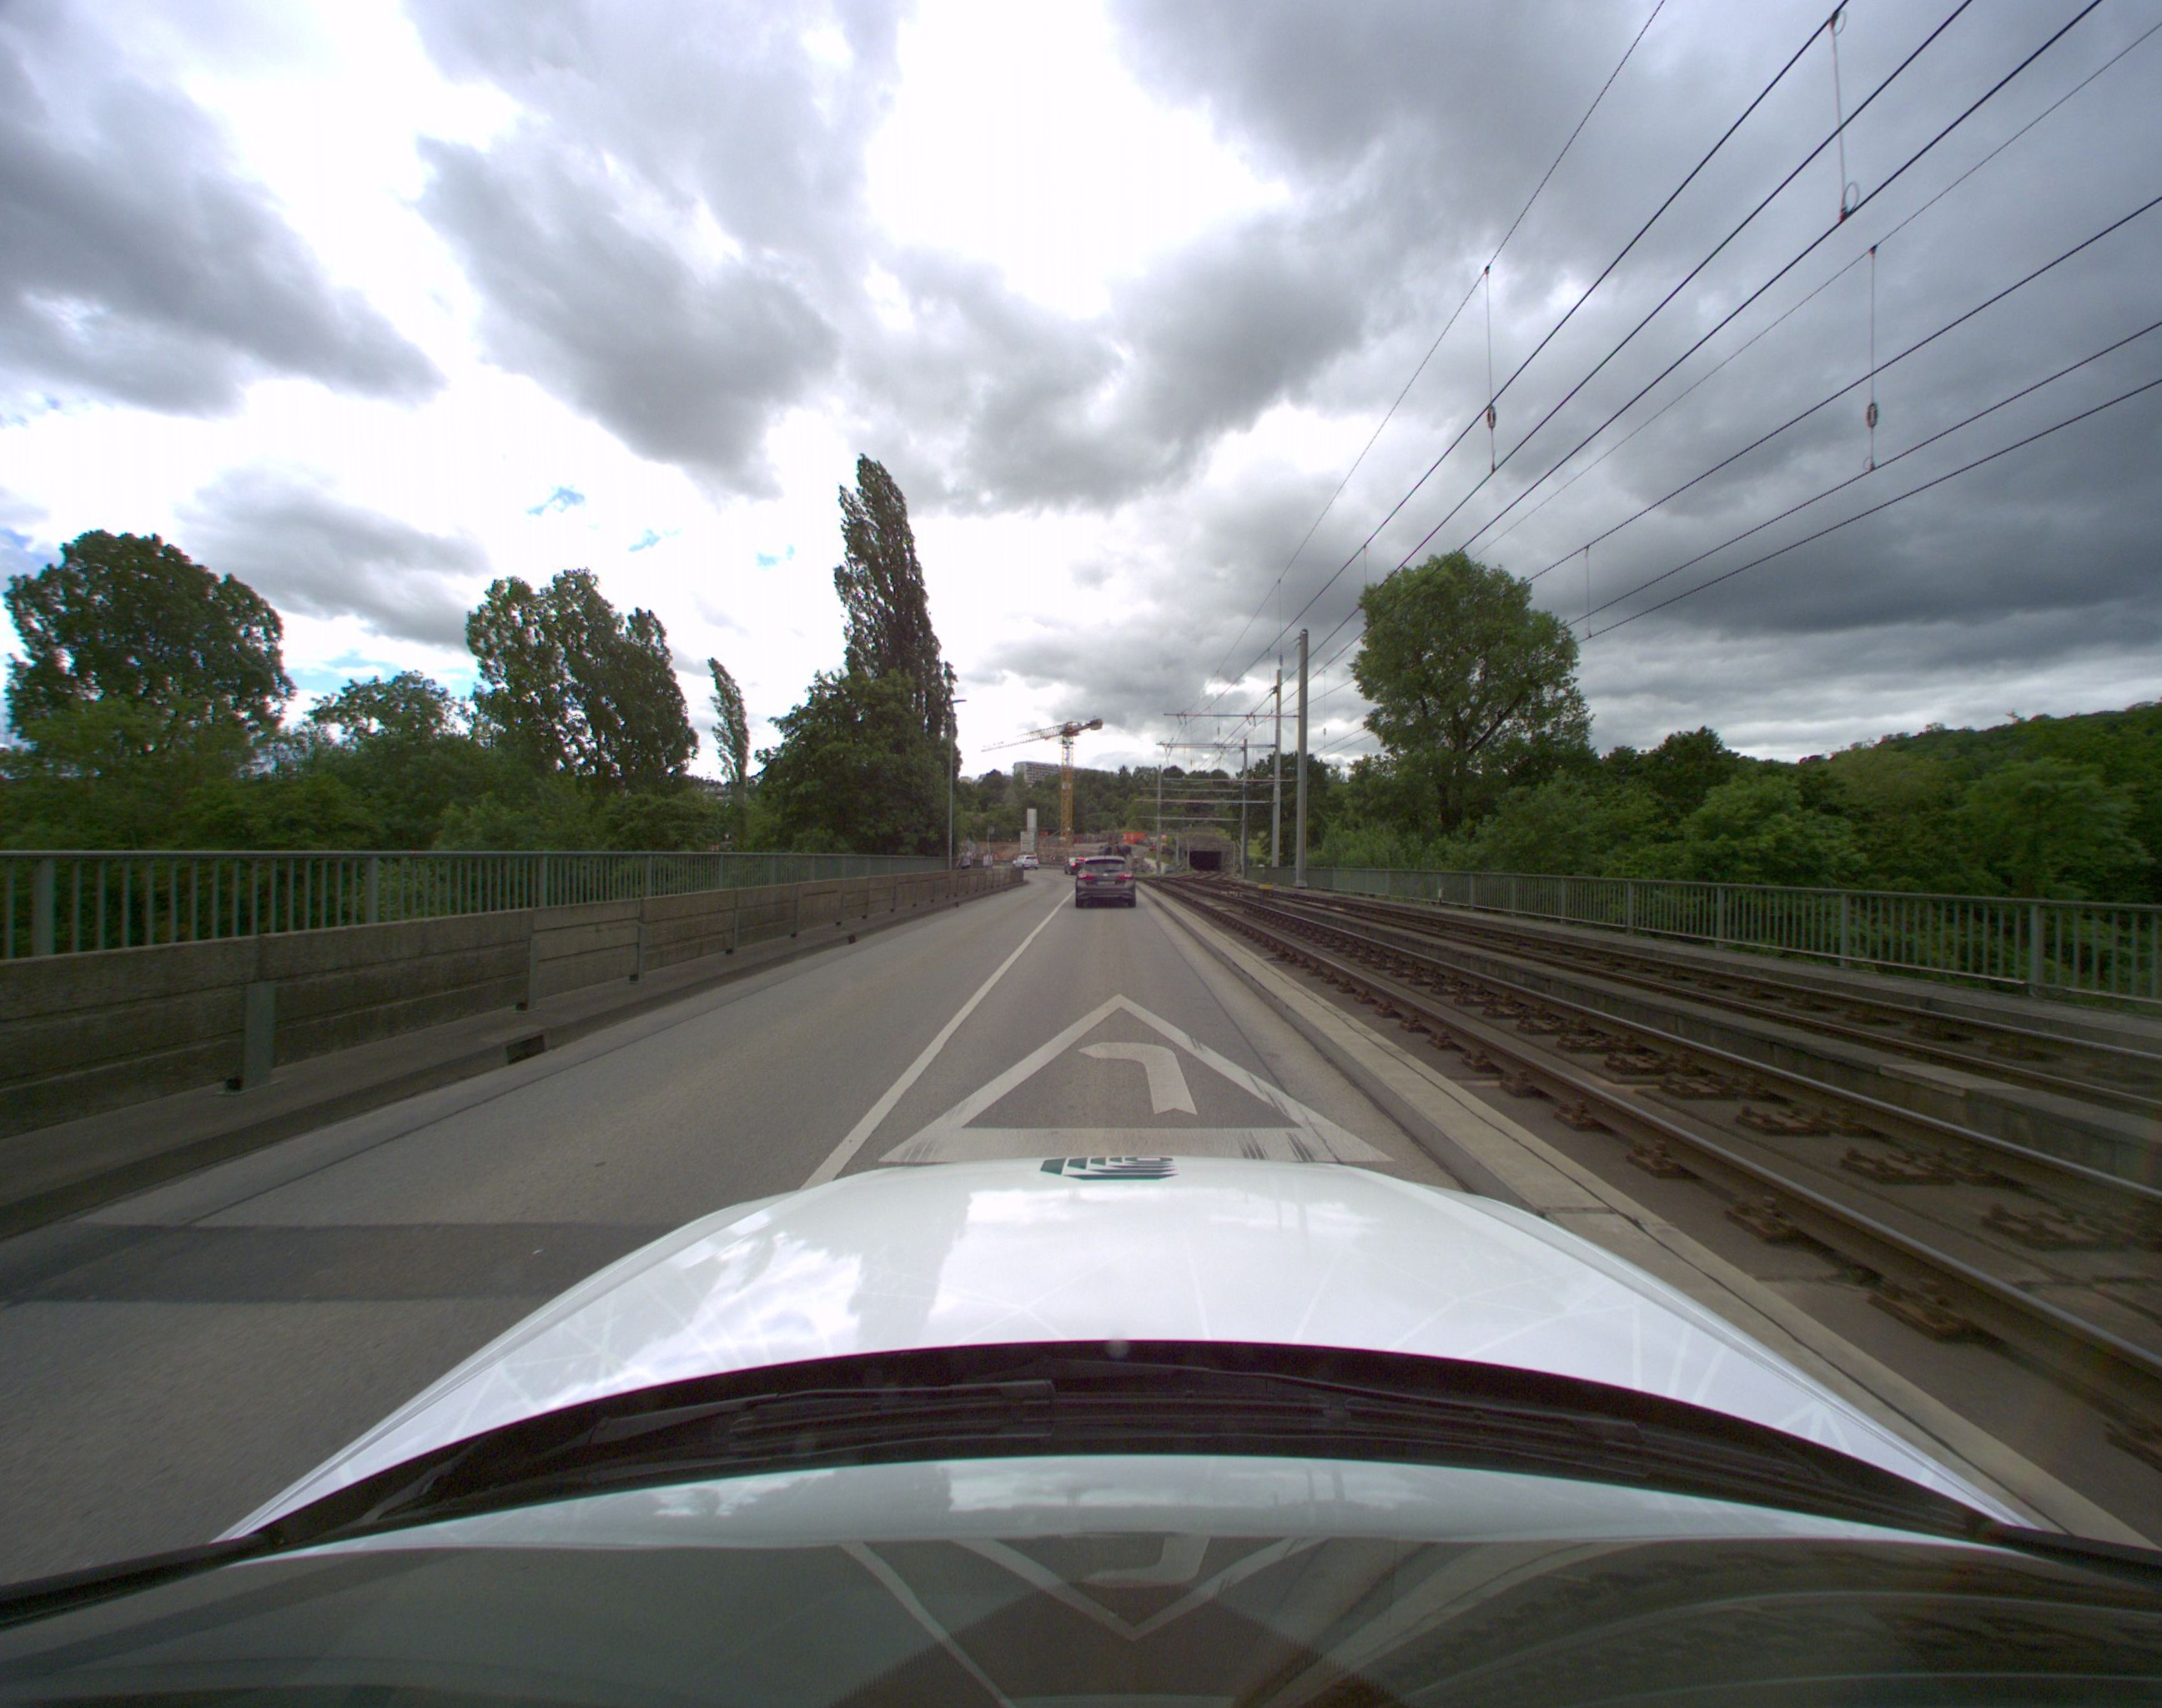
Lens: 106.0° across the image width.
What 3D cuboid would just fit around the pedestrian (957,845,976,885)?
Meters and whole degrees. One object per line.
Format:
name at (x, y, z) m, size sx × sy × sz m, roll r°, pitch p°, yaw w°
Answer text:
pedestrian at (-5.259, 0.501, 37.432) m, size 0.718 × 1.839 × 0.723 m, roll 0°, pitch 0°, yaw 1°

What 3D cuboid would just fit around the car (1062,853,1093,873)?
car at (-0.305, 0.761, 69.796) m, size 1.683 × 1.606 × 4.288 m, roll 0°, pitch 0°, yaw -15°

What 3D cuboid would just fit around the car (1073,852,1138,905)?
car at (0.708, 0.695, 25.015) m, size 1.824 × 1.510 × 3.999 m, roll 0°, pitch 0°, yaw 0°

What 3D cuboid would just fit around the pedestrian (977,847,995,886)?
pedestrian at (-4.243, 0.551, 36.381) m, size 0.718 × 1.701 × 0.723 m, roll 0°, pitch 0°, yaw 1°

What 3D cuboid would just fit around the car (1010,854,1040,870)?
car at (-5.927, 0.769, 85.737) m, size 1.688 × 1.606 × 4.273 m, roll 0°, pitch 0°, yaw -26°
